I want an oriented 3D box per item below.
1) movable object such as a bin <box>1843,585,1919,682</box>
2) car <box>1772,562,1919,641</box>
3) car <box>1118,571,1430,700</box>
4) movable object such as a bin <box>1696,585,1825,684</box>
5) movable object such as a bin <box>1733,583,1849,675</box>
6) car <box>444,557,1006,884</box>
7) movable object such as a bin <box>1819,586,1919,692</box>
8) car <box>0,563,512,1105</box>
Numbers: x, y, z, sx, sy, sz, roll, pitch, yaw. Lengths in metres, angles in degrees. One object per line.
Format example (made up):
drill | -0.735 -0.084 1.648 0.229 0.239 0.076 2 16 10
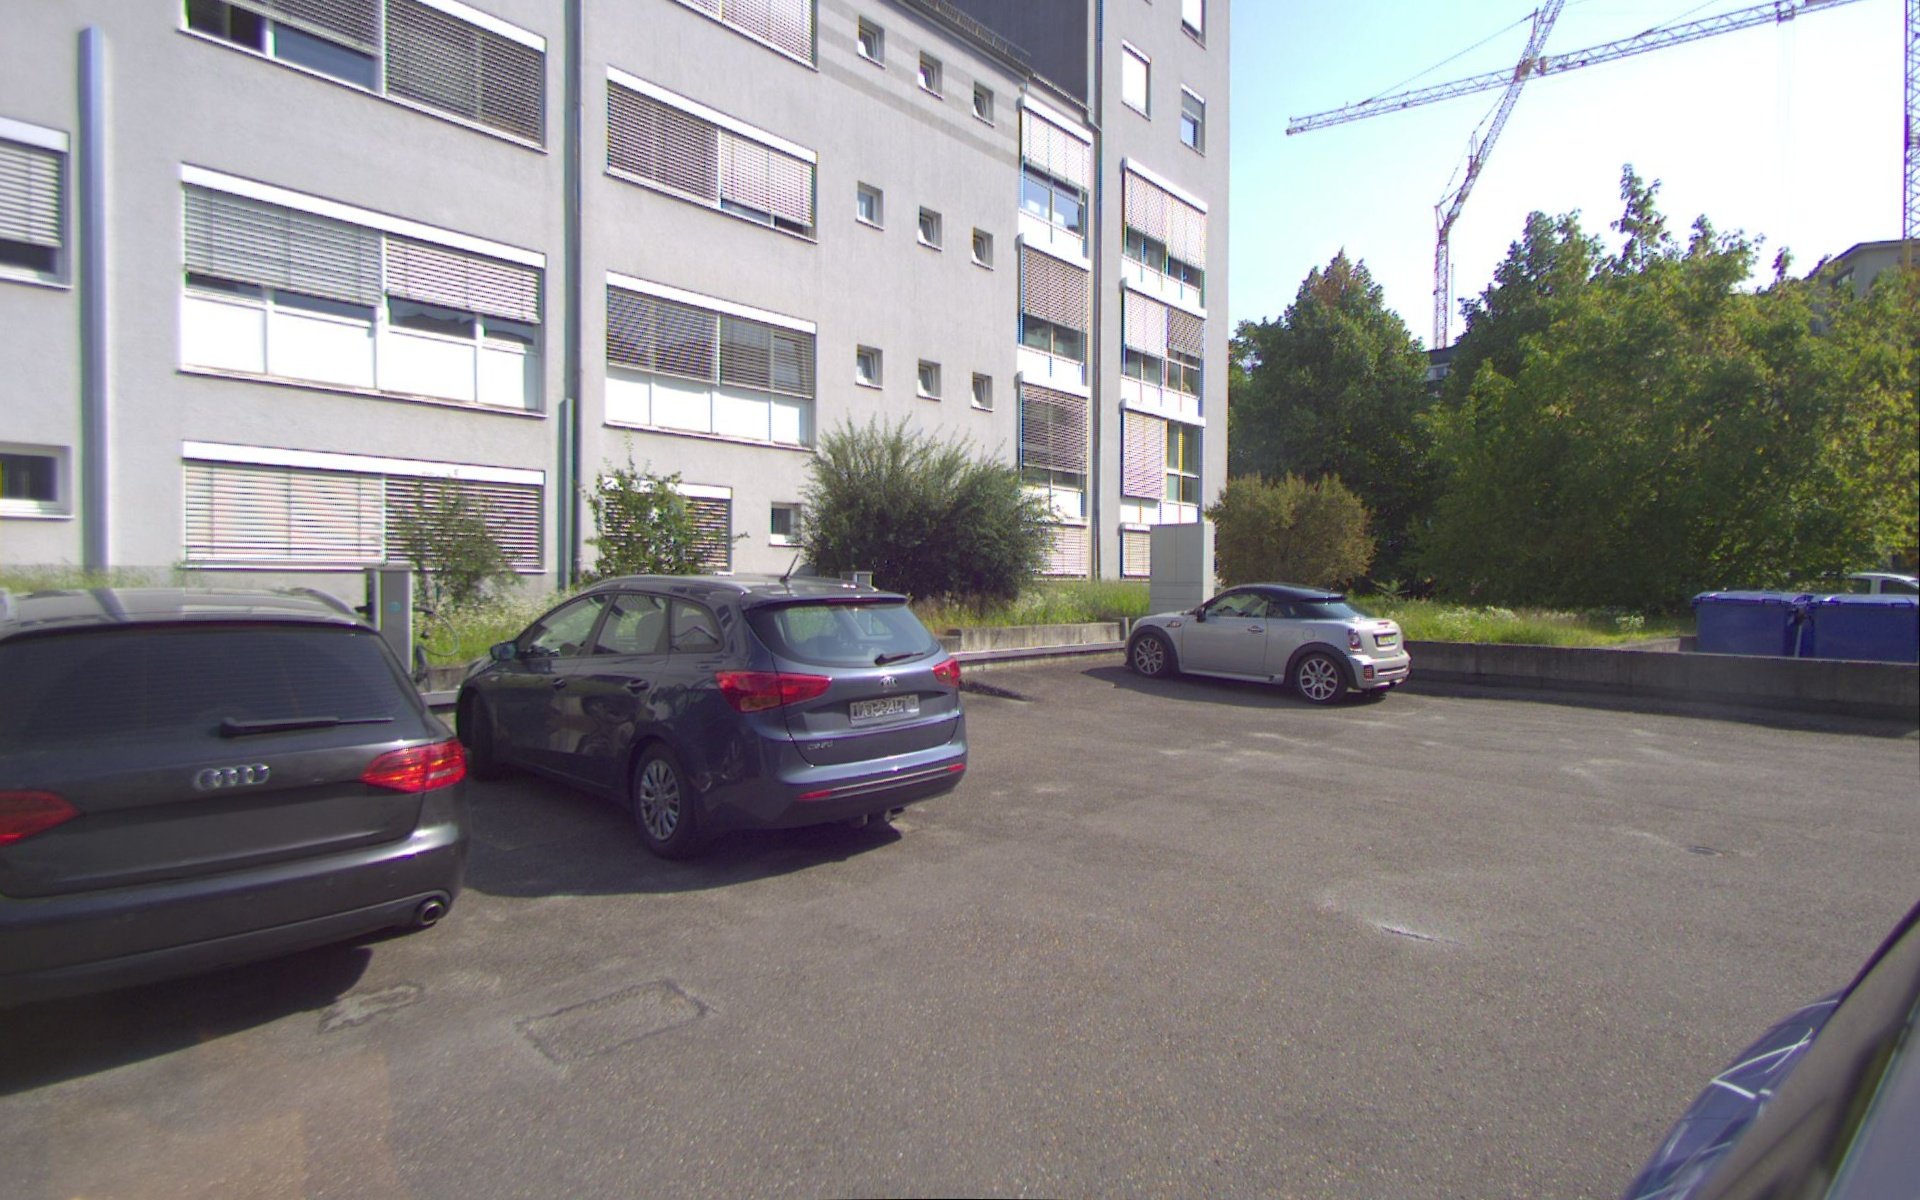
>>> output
movable object such as a bin | 13.745 0.457 14.706 1.253 1.344 1.199 0 1 -40
car | 24.075 0.026 25.959 1.874 1.956 4.790 0 1 -39
car | 4.007 0.359 13.278 1.631 1.455 3.573 0 1 -44
movable object such as a bin | 11.695 0.461 14.787 1.253 1.344 1.256 0 1 -40
movable object such as a bin | 12.943 0.414 15.759 1.253 1.344 1.199 0 1 -40
car | -1.772 0.500 6.676 4.048 1.496 1.715 2 1 44
movable object such as a bin | 12.544 0.490 13.733 1.253 1.368 1.212 0 1 -43
car | -3.644 0.578 4.613 1.662 1.455 4.238 0 1 -43
